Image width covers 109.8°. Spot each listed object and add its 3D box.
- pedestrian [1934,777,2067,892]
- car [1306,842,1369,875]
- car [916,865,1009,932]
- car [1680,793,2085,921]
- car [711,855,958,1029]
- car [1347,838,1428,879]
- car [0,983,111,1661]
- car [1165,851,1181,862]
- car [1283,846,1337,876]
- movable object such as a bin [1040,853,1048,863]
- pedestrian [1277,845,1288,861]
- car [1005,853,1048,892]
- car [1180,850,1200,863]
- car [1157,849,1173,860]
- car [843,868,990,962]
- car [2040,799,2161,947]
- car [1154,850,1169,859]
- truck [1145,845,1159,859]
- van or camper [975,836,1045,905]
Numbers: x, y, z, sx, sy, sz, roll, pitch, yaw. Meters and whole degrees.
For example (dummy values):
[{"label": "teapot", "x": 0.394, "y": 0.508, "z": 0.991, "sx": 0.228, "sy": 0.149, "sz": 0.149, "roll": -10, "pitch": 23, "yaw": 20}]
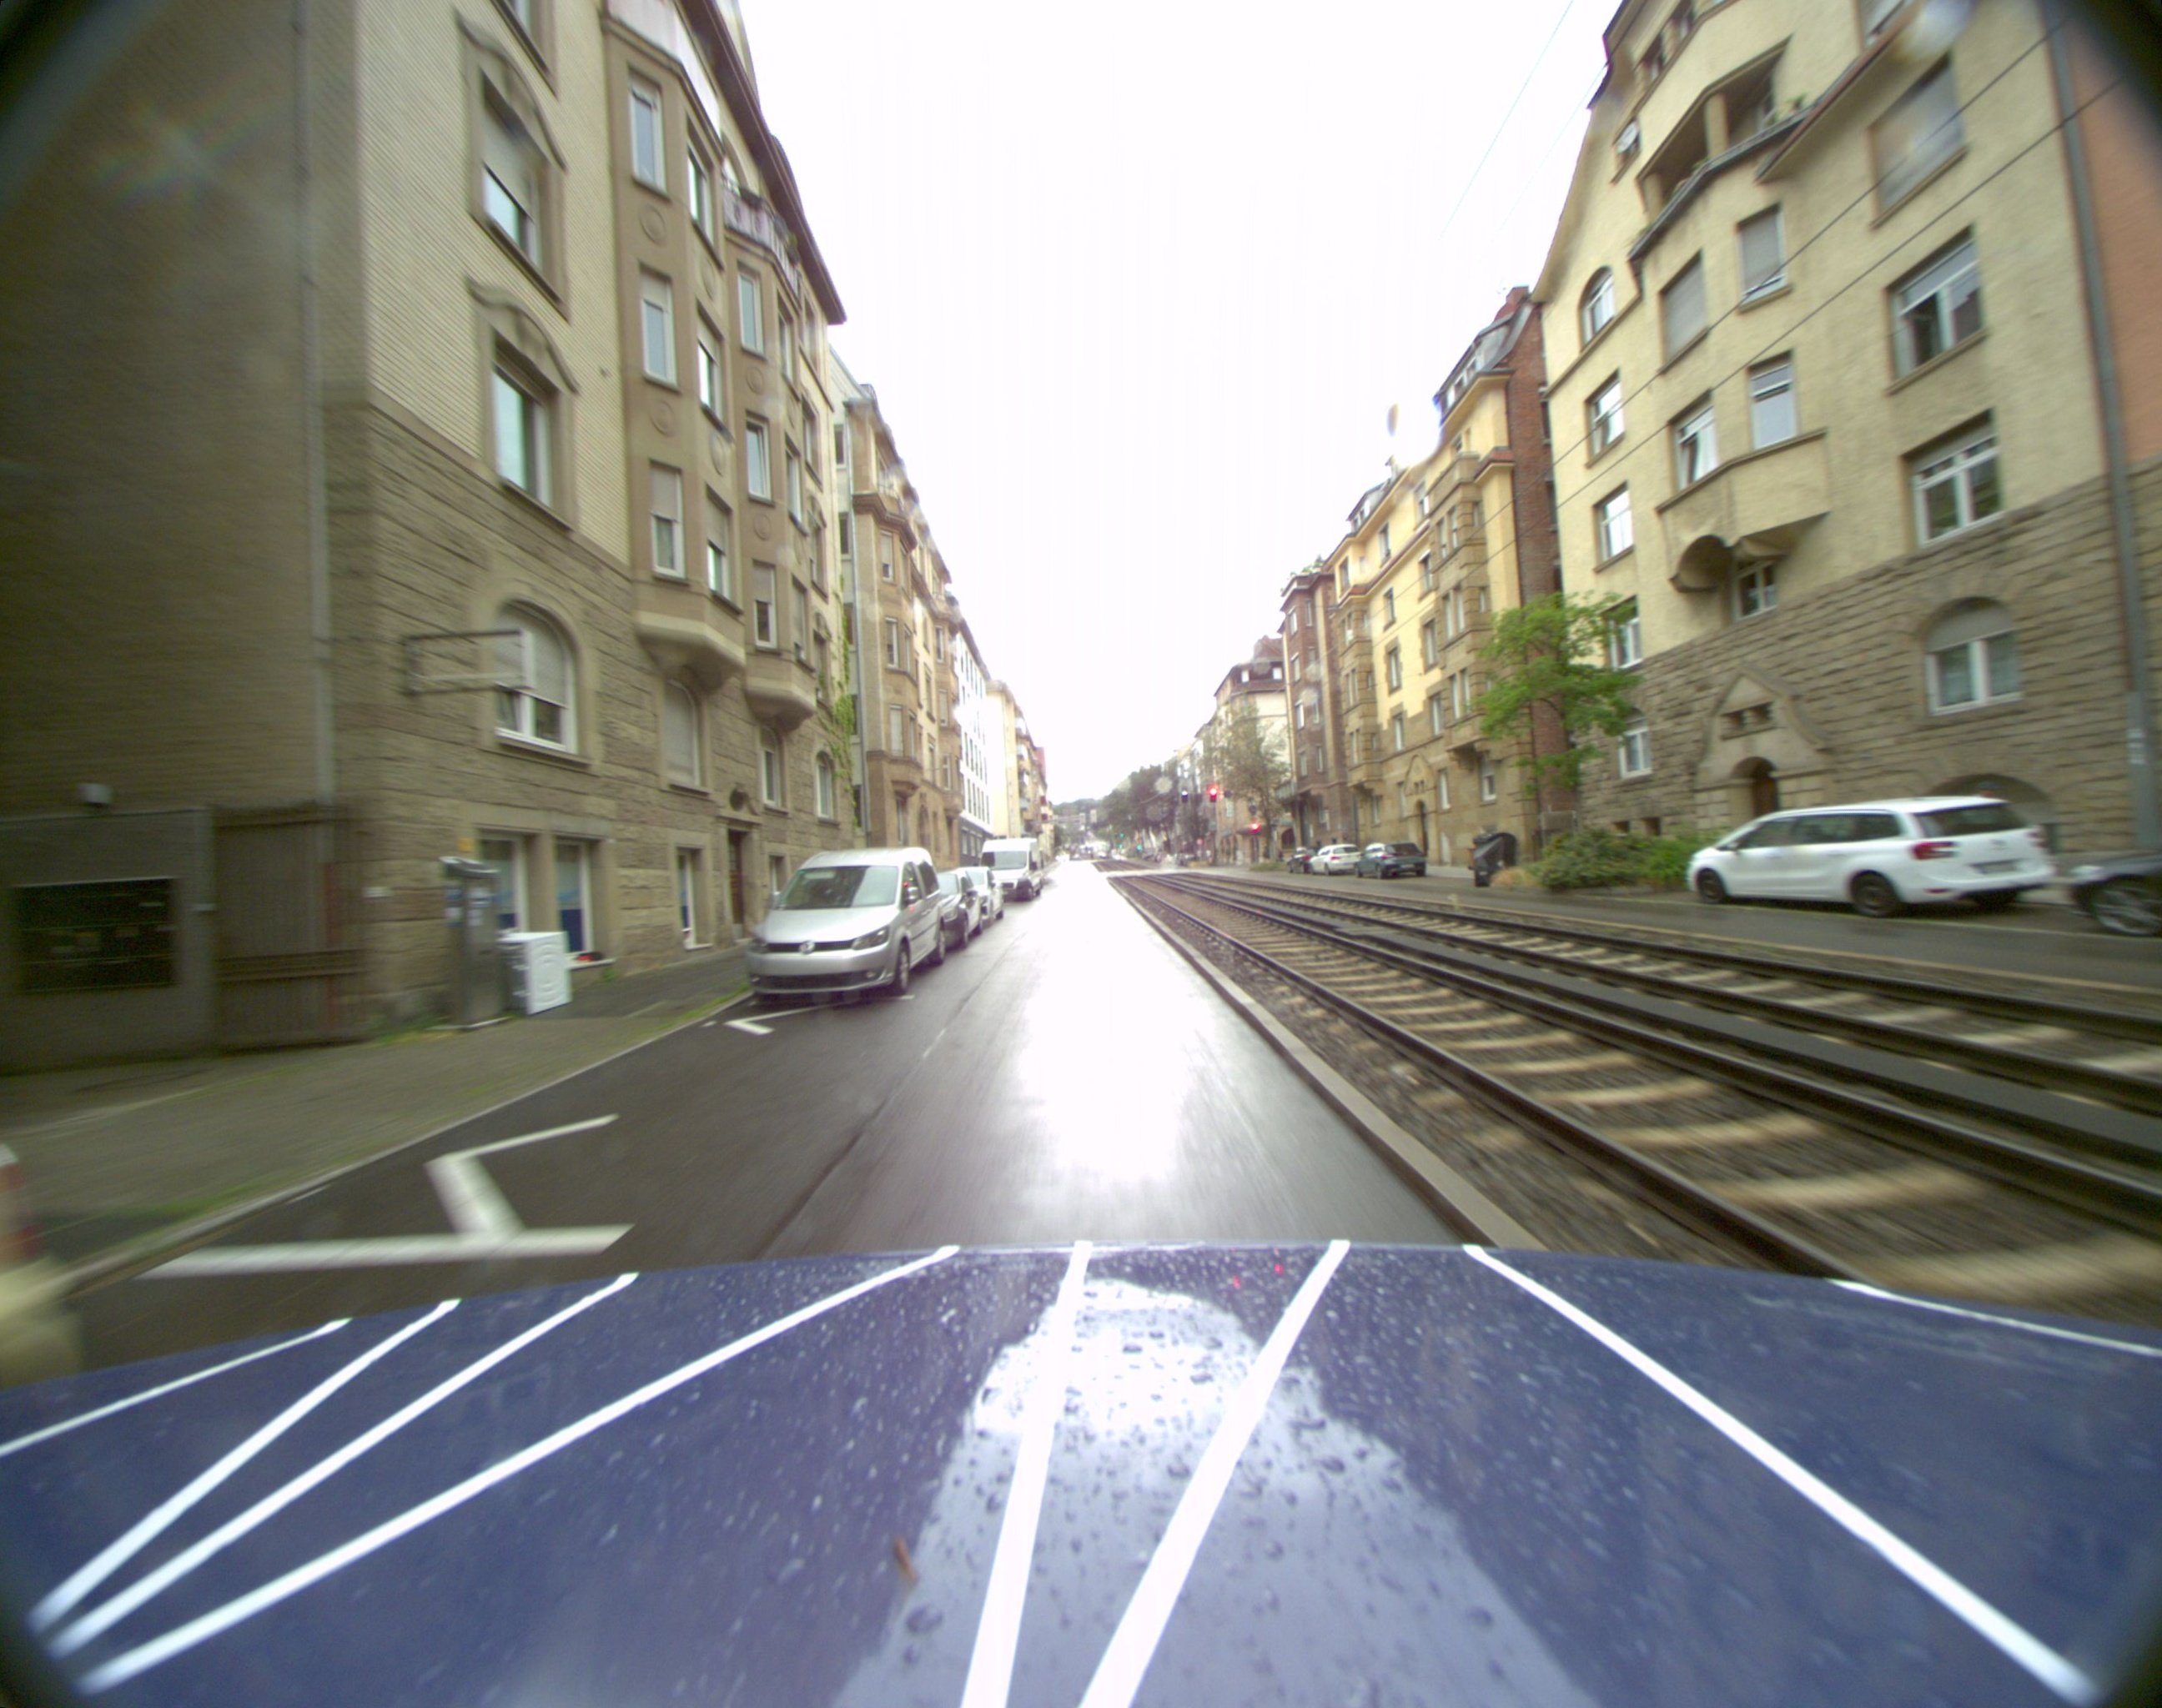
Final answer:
[{"label": "pedestrian", "x": 14.898, "y": -0.301, "z": 12.337, "sx": 1.010, "sy": 1.743, "sz": 0.924, "roll": -4, "pitch": 0, "yaw": -9}, {"label": "car", "x": 12.418, "y": 0.198, "z": 37.027, "sx": 1.671, "sy": 1.417, "sz": 4.263, "roll": -3, "pitch": 0, "yaw": 2}, {"label": "car", "x": -2.918, "y": 1.048, "z": 19.504, "sx": 1.680, "sy": 1.403, "sz": 4.000, "roll": -4, "pitch": 0, "yaw": 0}, {"label": "car", "x": 12.162, "y": 0.057, "z": 12.078, "sx": 1.789, "sy": 1.580, "sz": 4.351, "roll": -3, "pitch": 0, "yaw": 0}, {"label": "car", "x": -2.963, "y": 0.943, "z": 10.210, "sx": 1.779, "sy": 1.766, "sz": 4.360, "roll": -2, "pitch": 0, "yaw": 1}, {"label": "car", "x": 12.416, "y": 0.154, "z": 31.054, "sx": 1.565, "sy": 1.429, "sz": 4.145, "roll": -5, "pitch": 0, "yaw": 1}, {"label": "car", "x": -3.238, "y": 1.097, "z": 0.138, "sx": 1.563, "sy": 1.469, "sz": 3.461, "roll": -4, "pitch": 0, "yaw": 1}, {"label": "car", "x": 12.916, "y": 0.388, "z": 106.693, "sx": 1.706, "sy": 1.328, "sz": 4.130, "roll": -5, "pitch": 1, "yaw": 1}, {"label": "car", "x": 12.658, "y": 0.366, "z": 42.228, "sx": 1.769, "sy": 1.477, "sz": 4.000, "roll": -3, "pitch": 1, "yaw": 1}, {"label": "movable object such as a bin", "x": -5.319, "y": 0.558, "z": 109.836, "sx": 1.011, "sy": 1.443, "sz": 1.393, "roll": -1, "pitch": 1, "yaw": 0}, {"label": "pedestrian", "x": 19.188, "y": -0.081, "z": 72.382, "sx": 0.819, "sy": 1.407, "sz": 0.721, "roll": -4, "pitch": 0, "yaw": 4}, {"label": "car", "x": -2.772, "y": 0.921, "z": 39.480, "sx": 1.773, "sy": 1.797, "sz": 4.482, "roll": -4, "pitch": 0, "yaw": 0}, {"label": "car", "x": 13.213, "y": 0.288, "z": 92.639, "sx": 1.812, "sy": 1.489, "sz": 3.525, "roll": -4, "pitch": 0, "yaw": -1}, {"label": "car", "x": 13.007, "y": 0.067, "z": 117.932, "sx": 1.781, "sy": 1.560, "sz": 4.158, "roll": -3, "pitch": 1, "yaw": -1}, {"label": "car", "x": -3.061, "y": 1.084, "z": 15.019, "sx": 1.999, "sy": 1.433, "sz": 3.999, "roll": -2, "pitch": 0, "yaw": 0}, {"label": "car", "x": 12.325, "y": 0.135, "z": 6.441, "sx": 1.999, "sy": 1.500, "sz": 4.974, "roll": -5, "pitch": 0, "yaw": -1}, {"label": "car", "x": 13.202, "y": 0.103, "z": 125.309, "sx": 1.911, "sy": 1.432, "sz": 4.468, "roll": -3, "pitch": 1, "yaw": -1}, {"label": "truck", "x": 13.037, "y": -0.451, "z": 139.474, "sx": 2.197, "sy": 2.332, "sz": 6.351, "roll": -2, "pitch": 2, "yaw": 2}, {"label": "van or camper", "x": -2.755, "y": 0.584, "z": 30.985, "sx": 2.069, "sy": 2.454, "sz": 6.118, "roll": -3, "pitch": 0, "yaw": 1}]
